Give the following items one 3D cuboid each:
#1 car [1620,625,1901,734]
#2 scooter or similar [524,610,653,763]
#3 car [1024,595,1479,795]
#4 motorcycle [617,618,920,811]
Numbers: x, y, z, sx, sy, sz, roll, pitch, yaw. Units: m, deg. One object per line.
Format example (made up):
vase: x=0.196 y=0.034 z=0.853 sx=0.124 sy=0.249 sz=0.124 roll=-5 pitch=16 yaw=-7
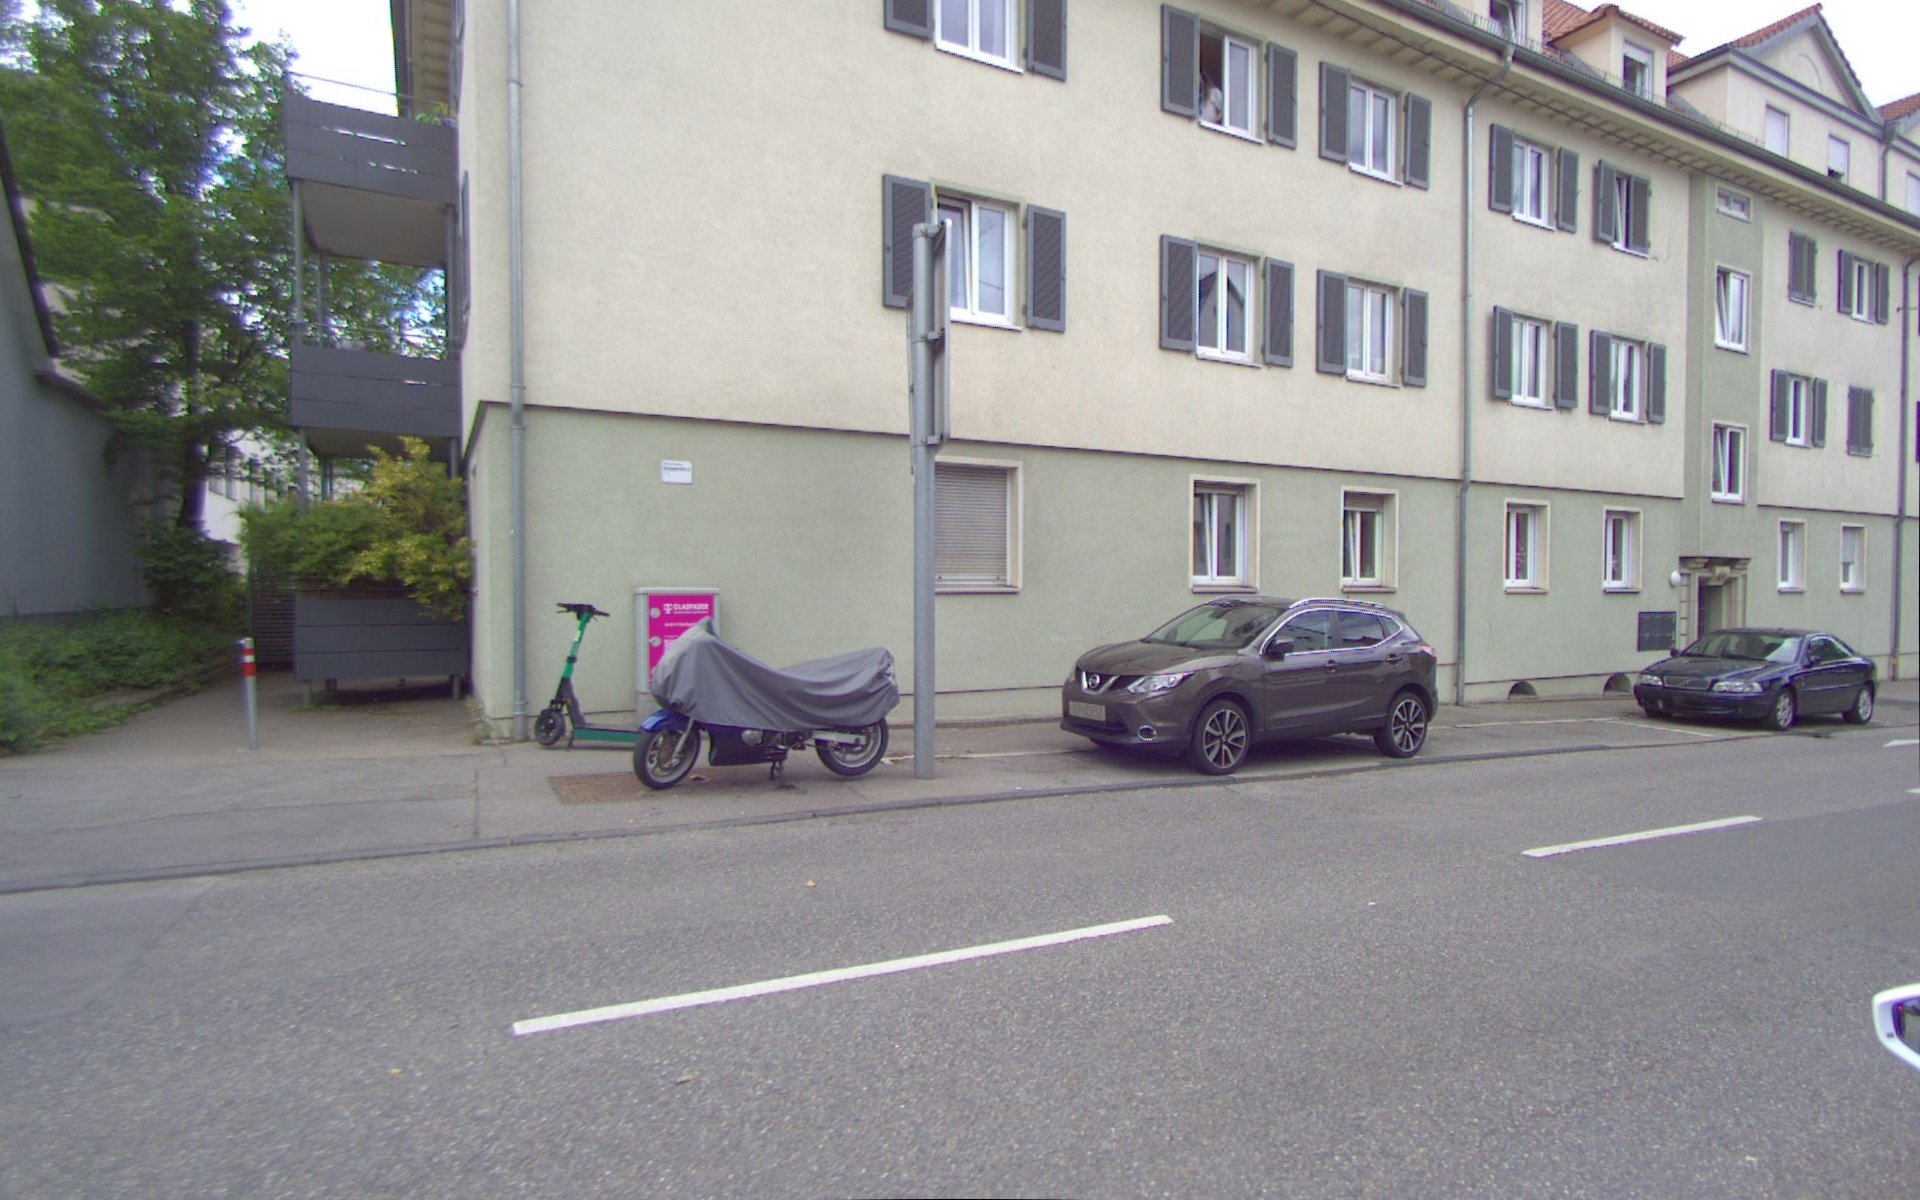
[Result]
car: x=12.339 y=1.121 z=15.411 sx=4.787 sy=1.422 sz=1.703 roll=1 pitch=0 yaw=-29
scooter or similar: x=-3.262 y=0.754 z=8.861 sx=0.967 sy=1.282 sz=0.357 roll=2 pitch=1 yaw=-5
car: x=3.098 y=0.817 z=10.369 sx=4.641 sy=1.655 sz=1.813 roll=1 pitch=1 yaw=-30
motorcycle: x=-1.434 y=0.809 z=7.752 sx=2.204 sy=1.308 sz=0.622 roll=1 pitch=2 yaw=-31
